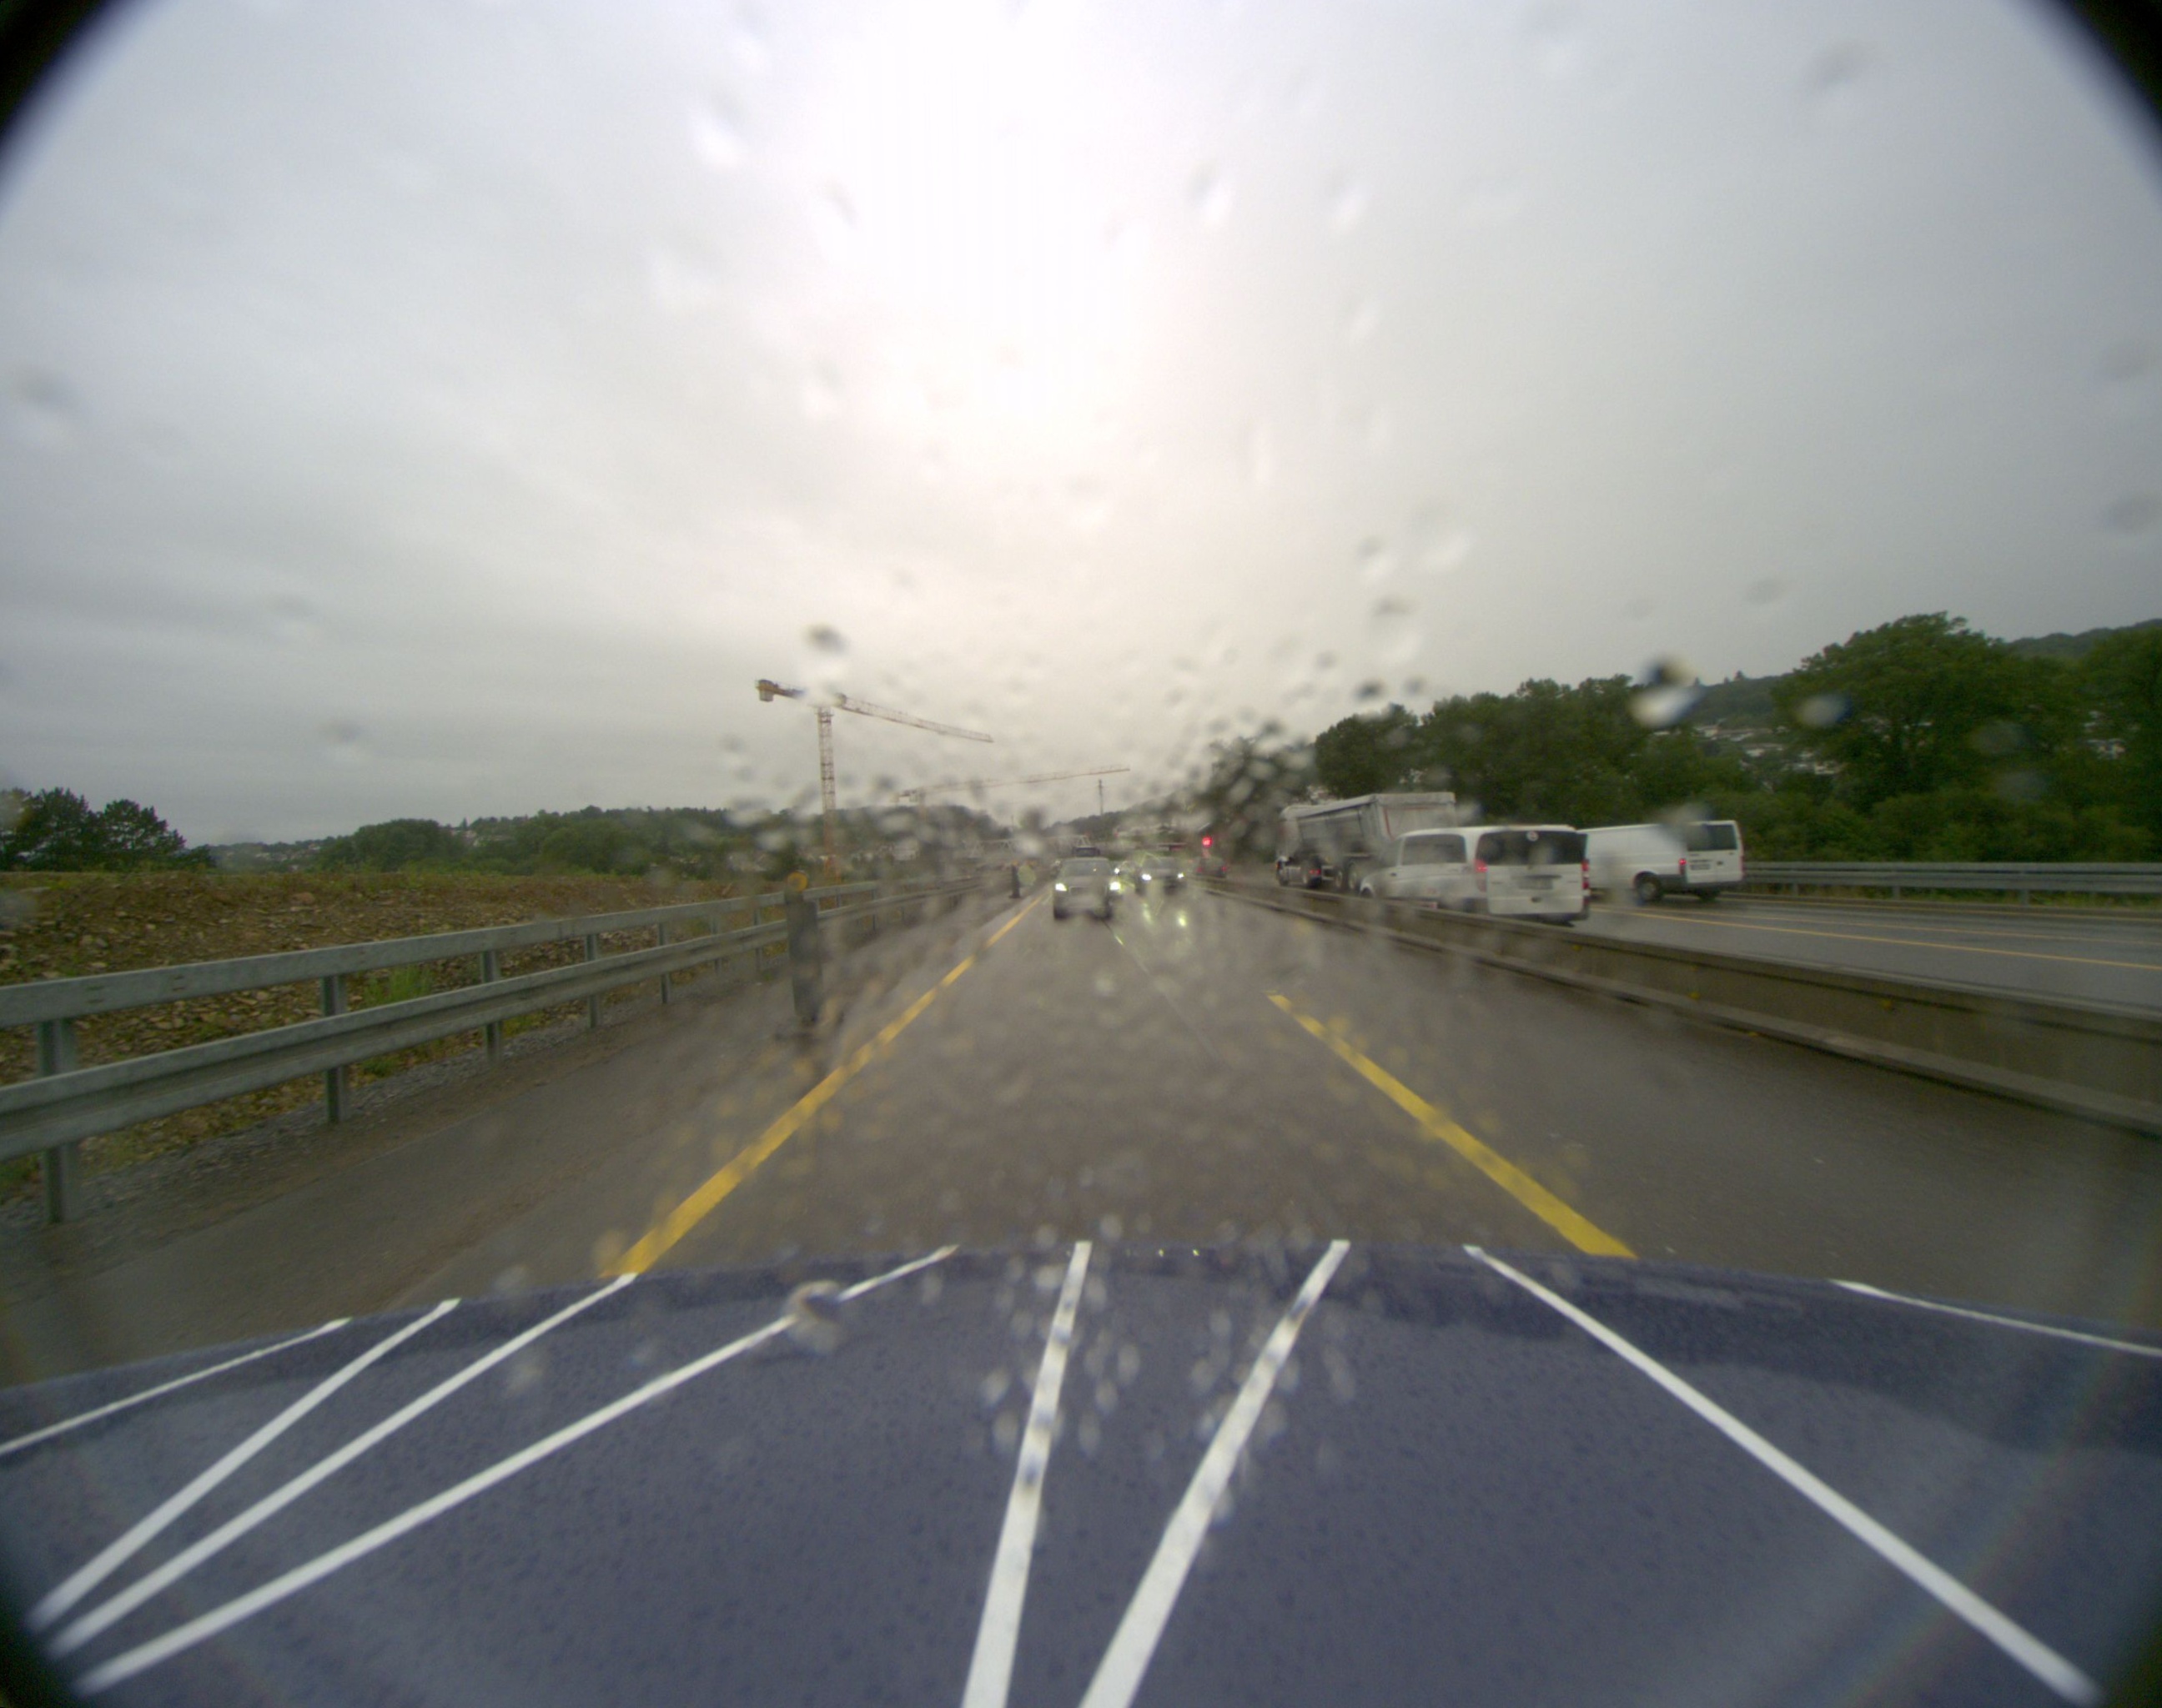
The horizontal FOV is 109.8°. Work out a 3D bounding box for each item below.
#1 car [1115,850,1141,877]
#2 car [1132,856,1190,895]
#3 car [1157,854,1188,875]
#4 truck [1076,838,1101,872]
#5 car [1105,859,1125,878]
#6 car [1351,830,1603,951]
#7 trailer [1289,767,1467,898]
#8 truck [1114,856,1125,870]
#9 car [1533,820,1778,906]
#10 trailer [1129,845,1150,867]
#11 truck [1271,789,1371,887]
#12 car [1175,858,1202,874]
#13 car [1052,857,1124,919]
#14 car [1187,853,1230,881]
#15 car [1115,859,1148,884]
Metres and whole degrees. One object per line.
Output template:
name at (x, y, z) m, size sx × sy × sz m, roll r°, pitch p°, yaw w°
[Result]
car at (3.765, 0.749, 60.511) m, size 1.998 × 2.001 × 4.002 m, roll -2°, pitch -1°, yaw 4°
car at (3.246, 0.851, 31.638) m, size 1.951 × 1.430 × 4.483 m, roll -2°, pitch 0°, yaw 1°
car at (7.438, 0.801, 62.271) m, size 1.998 × 1.645 × 4.470 m, roll 0°, pitch 0°, yaw 0°
truck at (0.813, 0.110, 83.211) m, size 2.576 × 3.450 × 6.627 m, roll -2°, pitch 0°, yaw 1°
car at (3.809, 1.661, 86.455) m, size 1.999 × 2.001 × 4.188 m, roll -2°, pitch -2°, yaw 0°
car at (6.945, 0.549, 14.170) m, size 1.879 × 1.782 × 5.359 m, roll -1°, pitch 0°, yaw 0°
trailer at (10.342, -0.648, 27.923) m, size 2.693 × 3.940 × 9.819 m, roll -1°, pitch 0°, yaw 0°
truck at (10.416, 2.417, 206.599) m, size 2.608 × 3.605 × 6.539 m, roll -2°, pitch 0°, yaw 1°
car at (15.301, 0.224, 20.718) m, size 2.273 × 2.002 × 5.040 m, roll -2°, pitch 0°, yaw -12°
trailer at (11.418, 0.499, 149.647) m, size 3.285 × 3.885 × 13.701 m, roll -2°, pitch -1°, yaw 1°
truck at (10.334, -0.650, 33.265) m, size 2.693 × 3.904 × 5.273 m, roll -1°, pitch 0°, yaw 0°
car at (10.586, 1.189, 75.237) m, size 1.851 × 1.567 × 4.270 m, roll 0°, pitch -1°, yaw -4°
car at (0.206, 0.902, 21.339) m, size 1.781 × 1.514 × 4.141 m, roll -2°, pitch -1°, yaw 1°
car at (7.058, 0.712, 42.344) m, size 1.714 × 1.445 × 4.000 m, roll -2°, pitch 0°, yaw 0°
car at (3.125, 1.063, 47.420) m, size 1.781 × 1.430 × 4.483 m, roll -2°, pitch 0°, yaw 1°
